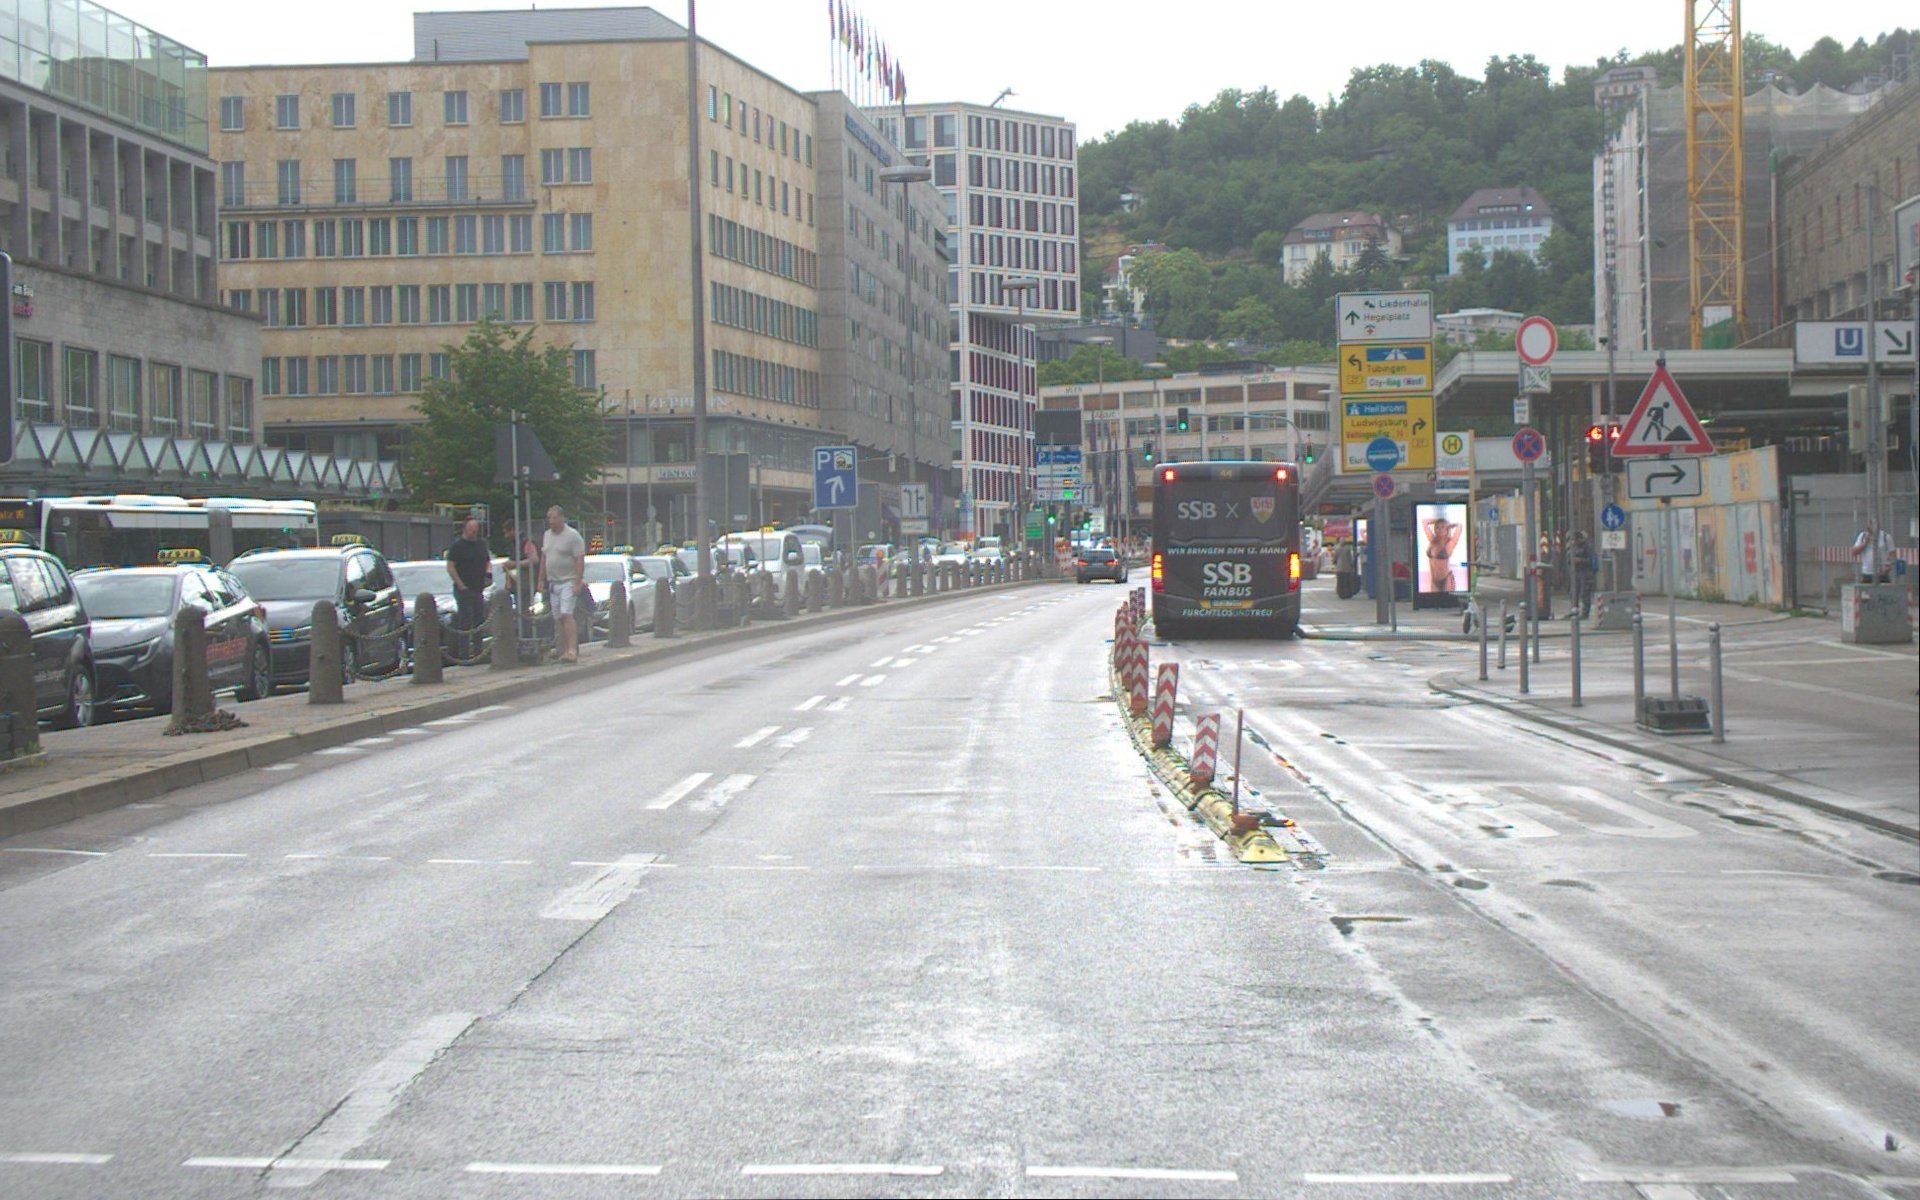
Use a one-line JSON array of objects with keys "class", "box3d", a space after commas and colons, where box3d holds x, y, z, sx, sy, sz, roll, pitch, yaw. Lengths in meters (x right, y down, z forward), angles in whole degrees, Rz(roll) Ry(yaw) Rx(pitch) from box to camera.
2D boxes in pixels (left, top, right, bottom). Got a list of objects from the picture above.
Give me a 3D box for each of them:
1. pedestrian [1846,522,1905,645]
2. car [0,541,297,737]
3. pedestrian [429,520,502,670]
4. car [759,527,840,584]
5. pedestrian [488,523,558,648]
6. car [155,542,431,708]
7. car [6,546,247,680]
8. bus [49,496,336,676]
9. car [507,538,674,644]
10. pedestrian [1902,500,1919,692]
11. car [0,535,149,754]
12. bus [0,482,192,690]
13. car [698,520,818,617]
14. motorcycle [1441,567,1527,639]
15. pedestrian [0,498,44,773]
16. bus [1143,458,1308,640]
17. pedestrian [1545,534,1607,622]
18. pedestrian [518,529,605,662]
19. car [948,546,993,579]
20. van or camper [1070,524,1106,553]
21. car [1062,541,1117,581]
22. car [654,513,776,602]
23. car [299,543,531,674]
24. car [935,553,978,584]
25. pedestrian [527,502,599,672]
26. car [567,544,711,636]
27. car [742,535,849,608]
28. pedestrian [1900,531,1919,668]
[{"class": "pedestrian", "box3d": [14.035, -0.259, 52.722, 0.644, 1.841, 0.659, -4, 1, 4]}, {"class": "car", "box3d": [-7.924, 0.327, 32.991, 1.930, 1.685, 4.682, -2, 1, 3]}, {"class": "pedestrian", "box3d": [-5.881, -0.066, 40.889, 0.698, 1.749, 0.711, -1, 1, 4]}, {"class": "car", "box3d": [-4.625, -1.287, 99.517, 1.993, 1.546, 4.000, -1, 1, 2]}, {"class": "pedestrian", "box3d": [-5.682, -0.200, 44.763, 0.723, 1.601, 0.996, 1, 1, 3]}, {"class": "car", "box3d": [-7.476, 0.239, 38.988, 1.930, 1.685, 4.682, -2, 1, 3]}, {"class": "car", "box3d": [-11.524, 0.143, 47.849, 1.930, 1.685, 4.682, -2, 1, 3]}, {"class": "bus", "box3d": [-15.807, -0.373, 71.763, 2.878, 3.448, 10.573, -1, 1, 4]}, {"class": "car", "box3d": [-6.219, -0.178, 58.501, 1.976, 1.653, 5.192, -2, 1, 3]}, {"class": "pedestrian", "box3d": [9.545, -0.057, 32.989, 0.723, 1.841, 0.810, -4, 1, 4]}, {"class": "car", "box3d": [-8.270, 0.361, 28.016, 1.930, 1.685, 4.682, -2, 1, 3]}, {"class": "bus", "box3d": [-16.646, -0.312, 61.073, 2.878, 3.365, 10.573, -1, 1, 4]}, {"class": "car", "box3d": [-4.723, -0.783, 81.131, 1.994, 2.171, 5.543, -1, 1, 5]}, {"class": "motorcycle", "box3d": [8.664, 0.042, 56.804, 0.586, 1.162, 1.613, 1, 1, 43]}, {"class": "pedestrian", "box3d": [-6.510, 0.247, 22.559, 0.781, 1.769, 0.607, -4, 1, -8]}, {"class": "bus", "box3d": [4.819, -0.926, 62.625, 2.755, 3.058, 9.079, 0, 1, 4]}, {"class": "pedestrian", "box3d": [11.560, -0.420, 64.501, 0.908, 1.629, 0.827, 0, 1, 31]}, {"class": "pedestrian", "box3d": [-5.353, -0.062, 46.228, 1.050, 1.762, 0.616, -1, 1, 3]}, {"class": "car", "box3d": [0.568, -2.007, 182.082, 1.962, 1.559, 4.835, -3, 1, 4]}, {"class": "van or camper", "box3d": [8.991, -4.289, 240.748, 1.994, 2.007, 5.188, -1, 1, 7]}, {"class": "car", "box3d": [5.319, -1.602, 140.385, 1.994, 1.546, 3.999, -1, 1, 5]}, {"class": "car", "box3d": [-5.336, -0.932, 75.452, 1.930, 1.800, 4.582, -2, 1, 5]}, {"class": "car", "box3d": [-7.184, 0.070, 45.870, 1.930, 1.571, 5.260, -2, 1, 3]}, {"class": "car", "box3d": [-0.174, -1.755, 190.719, 1.962, 1.559, 4.835, -3, 1, 4]}, {"class": "pedestrian", "box3d": [-4.718, -0.166, 40.846, 0.723, 2.001, 0.772, 0, 1, 4]}, {"class": "car", "box3d": [-5.953, -0.204, 64.285, 1.930, 1.571, 5.052, -2, 1, 3]}, {"class": "car", "box3d": [-4.099, -0.741, 86.552, 1.994, 1.716, 4.781, -1, 1, 5]}, {"class": "pedestrian", "box3d": [11.134, -0.027, 39.125, 0.651, 1.534, 0.665, -4, 1, 5]}]
